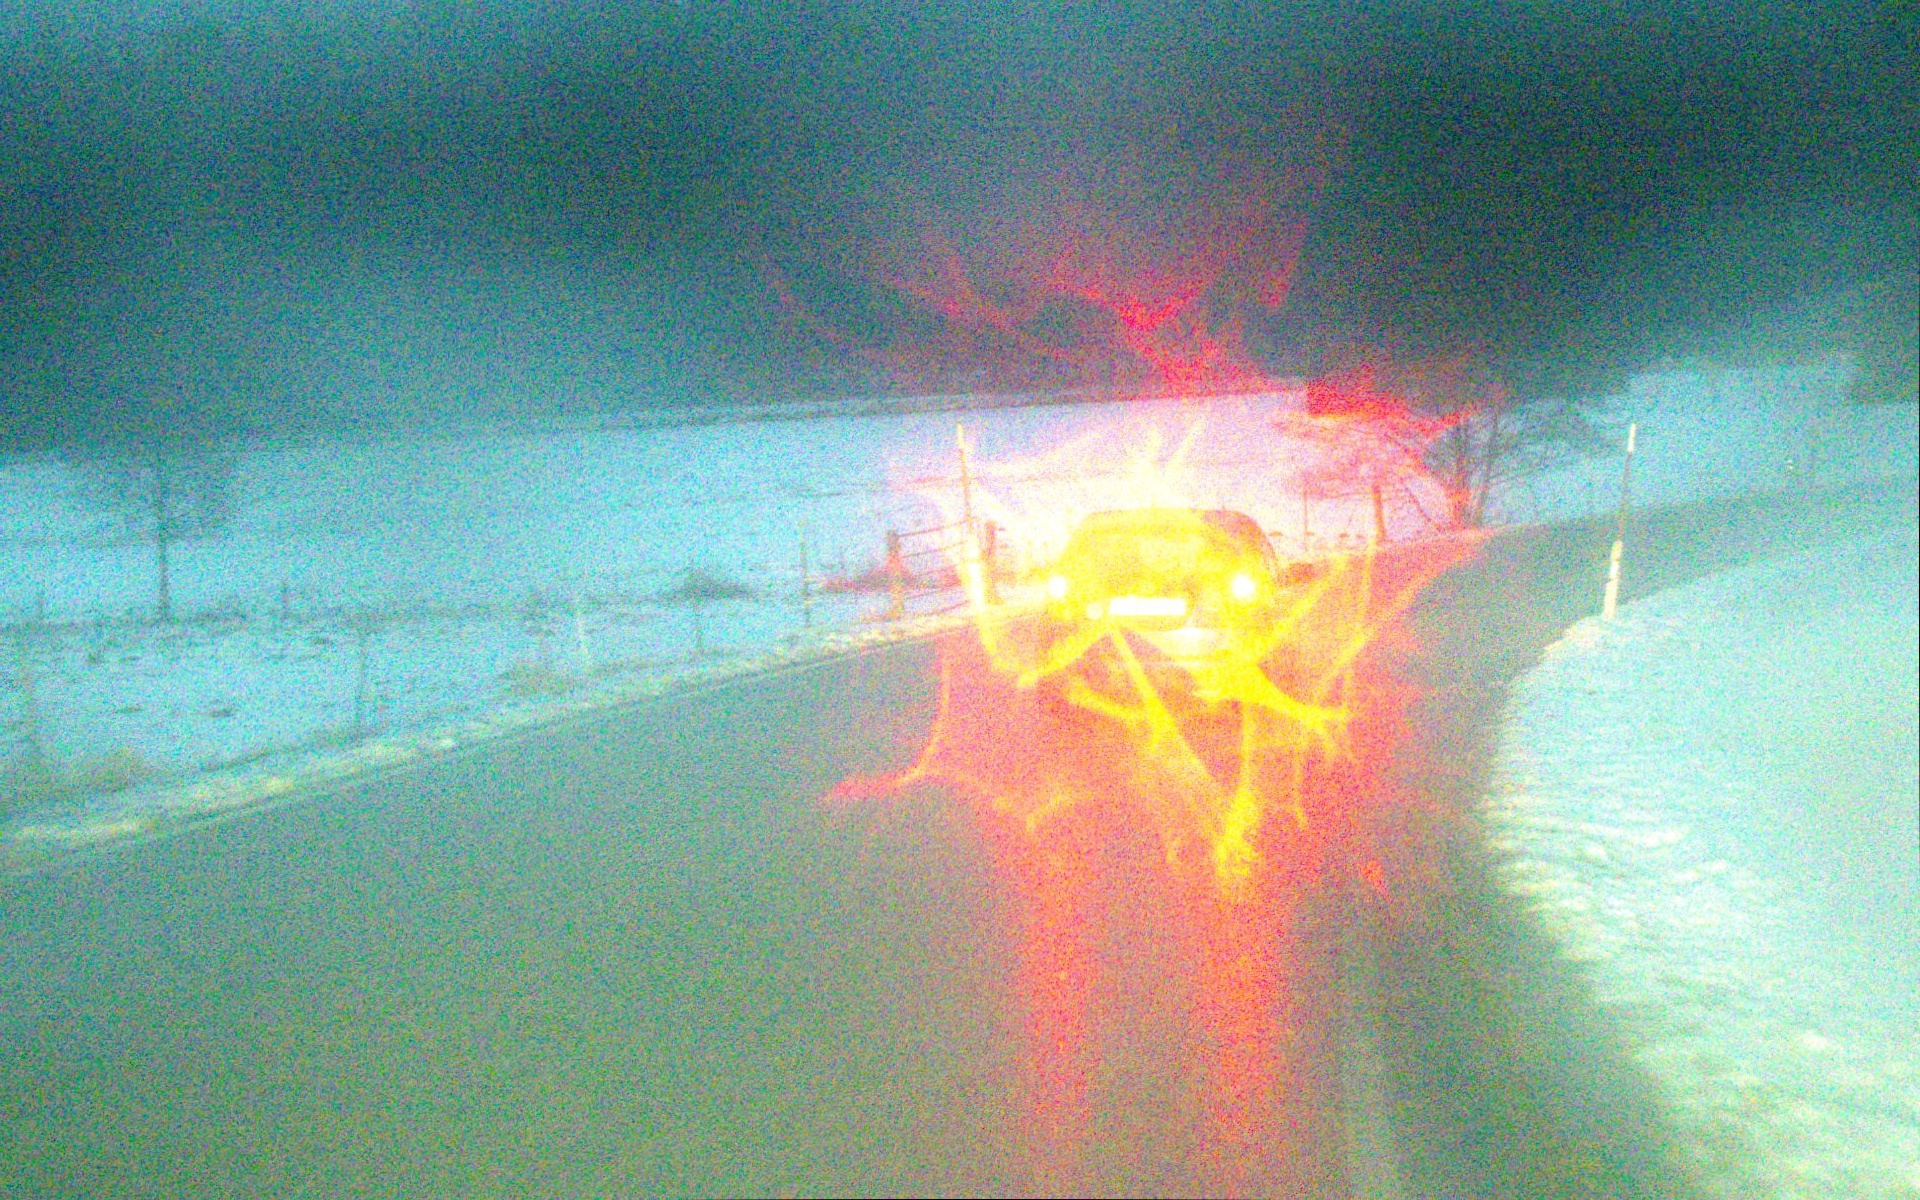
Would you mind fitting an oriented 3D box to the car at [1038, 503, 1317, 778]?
[{"bbox_3d":[1.519,0.237,25.103,1.822,1.790,3.578,-2,1,2],"label":"car"}]
